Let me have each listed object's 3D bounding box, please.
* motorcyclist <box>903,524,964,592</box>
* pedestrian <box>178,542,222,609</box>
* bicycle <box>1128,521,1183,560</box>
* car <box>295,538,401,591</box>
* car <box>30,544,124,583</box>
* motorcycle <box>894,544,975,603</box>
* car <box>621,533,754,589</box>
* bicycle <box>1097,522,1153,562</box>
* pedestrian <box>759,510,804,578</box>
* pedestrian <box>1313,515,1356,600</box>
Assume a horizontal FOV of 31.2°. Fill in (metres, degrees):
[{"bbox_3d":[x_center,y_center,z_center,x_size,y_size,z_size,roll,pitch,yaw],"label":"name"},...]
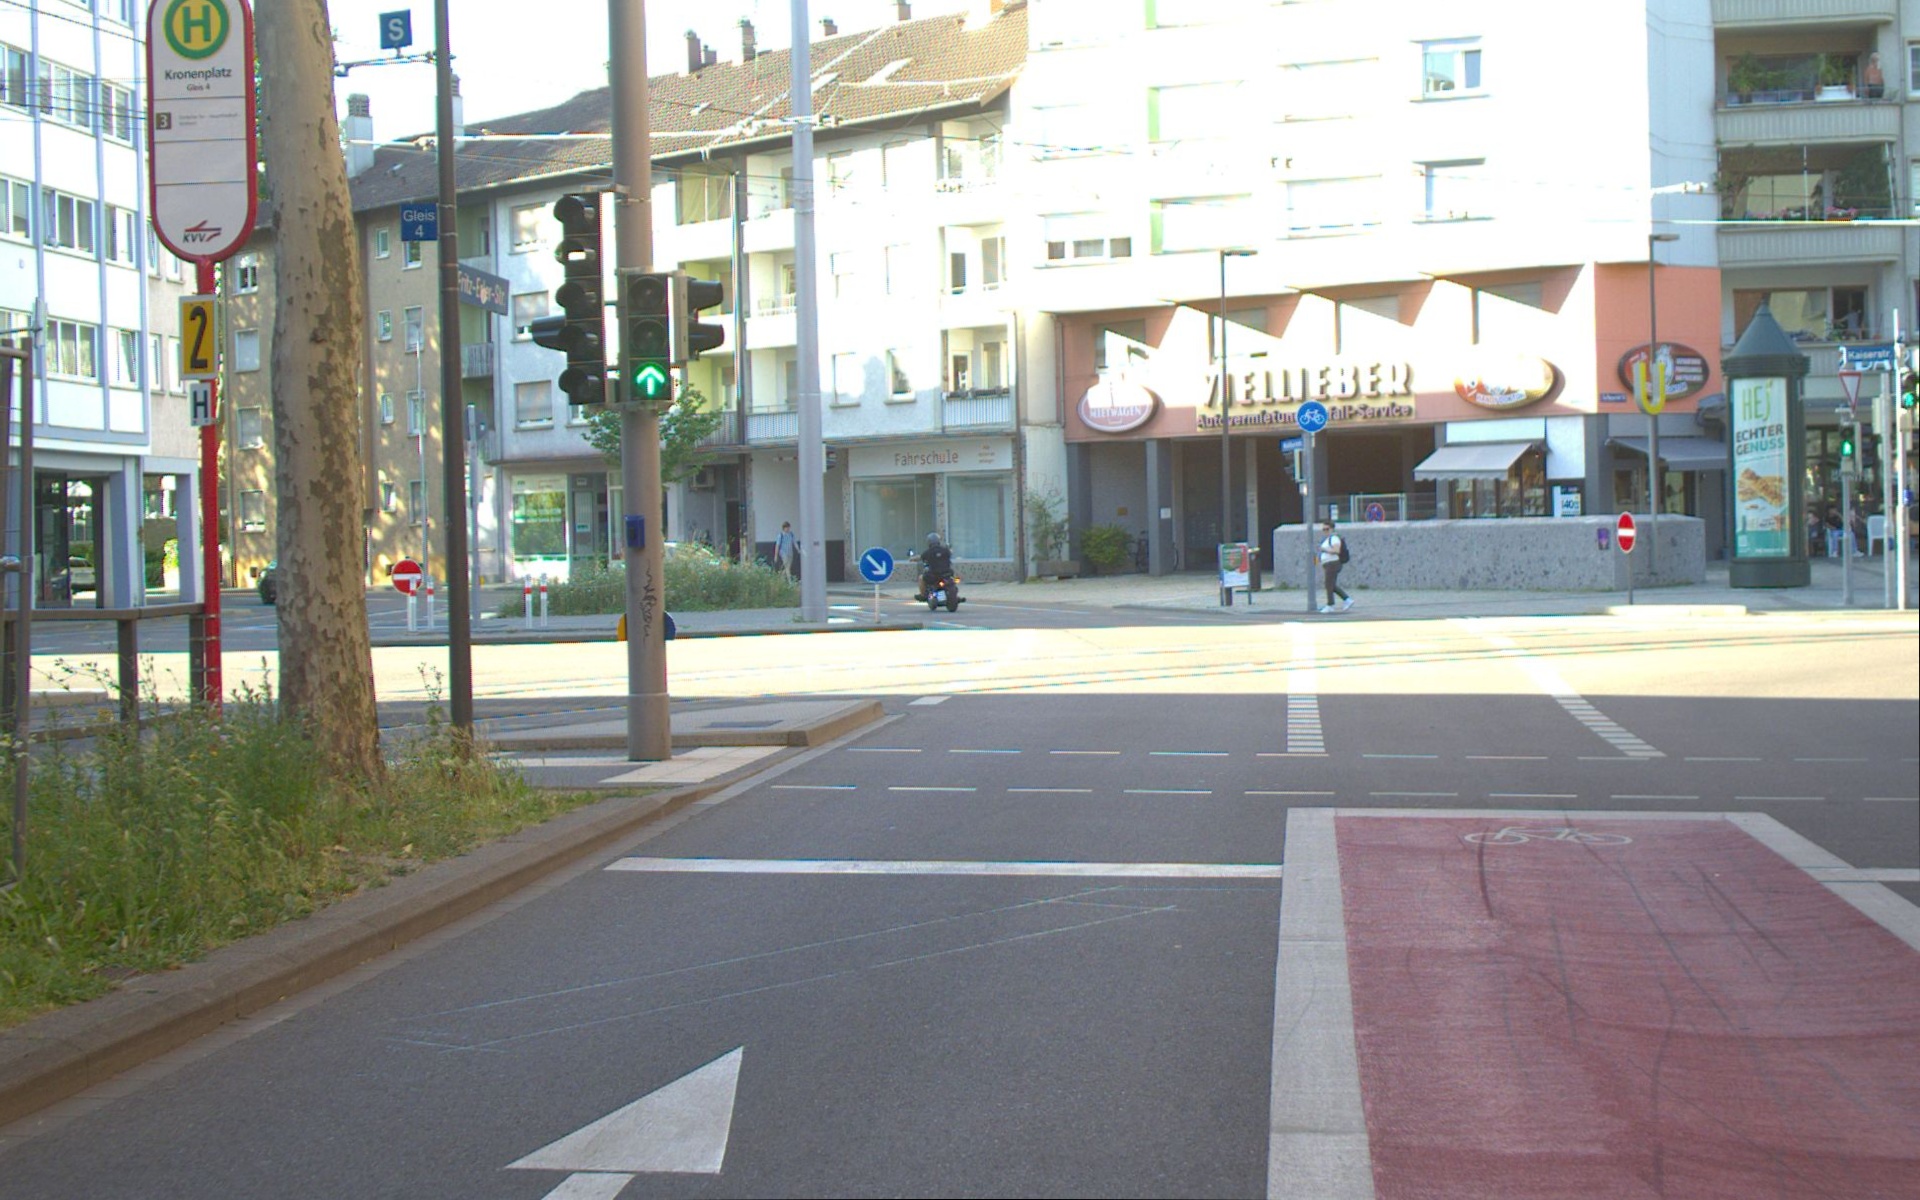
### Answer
[{"bbox_3d":[-0.537,-0.843,68.352,0.970,1.342,1.138,0,1,-14],"label":"motorcyclist"},{"bbox_3d":[-19.553,-0.636,88.415,0.805,1.718,0.776,-1,1,-42],"label":"pedestrian"},{"bbox_3d":[5.179,-1.572,91.149,0.494,1.035,1.638,-2,1,-39],"label":"bicycle"},{"bbox_3d":[-16.694,-0.977,93.985,1.833,1.381,4.596,-1,1,3],"label":"car"},{"bbox_3d":[-34.951,-1.446,136.073,2.034,1.499,4.092,-2,2,-39],"label":"car"},{"bbox_3d":[-0.524,-0.535,68.358,0.973,1.128,2.806,0,1,-14],"label":"motorcycle"},{"bbox_3d":[-7.093,-1.025,89.133,1.923,1.384,4.000,-2,1,-29],"label":"car"},{"bbox_3d":[4.357,-1.537,90.905,0.494,1.035,1.638,-2,1,-39],"label":"bicycle"},{"bbox_3d":[-4.999,-1.563,96.329,0.731,1.848,0.948,-5,3,-39],"label":"pedestrian"},{"bbox_3d":[7.038,-0.803,64.611,0.539,1.578,0.557,-2,1,-37],"label":"pedestrian"}]
